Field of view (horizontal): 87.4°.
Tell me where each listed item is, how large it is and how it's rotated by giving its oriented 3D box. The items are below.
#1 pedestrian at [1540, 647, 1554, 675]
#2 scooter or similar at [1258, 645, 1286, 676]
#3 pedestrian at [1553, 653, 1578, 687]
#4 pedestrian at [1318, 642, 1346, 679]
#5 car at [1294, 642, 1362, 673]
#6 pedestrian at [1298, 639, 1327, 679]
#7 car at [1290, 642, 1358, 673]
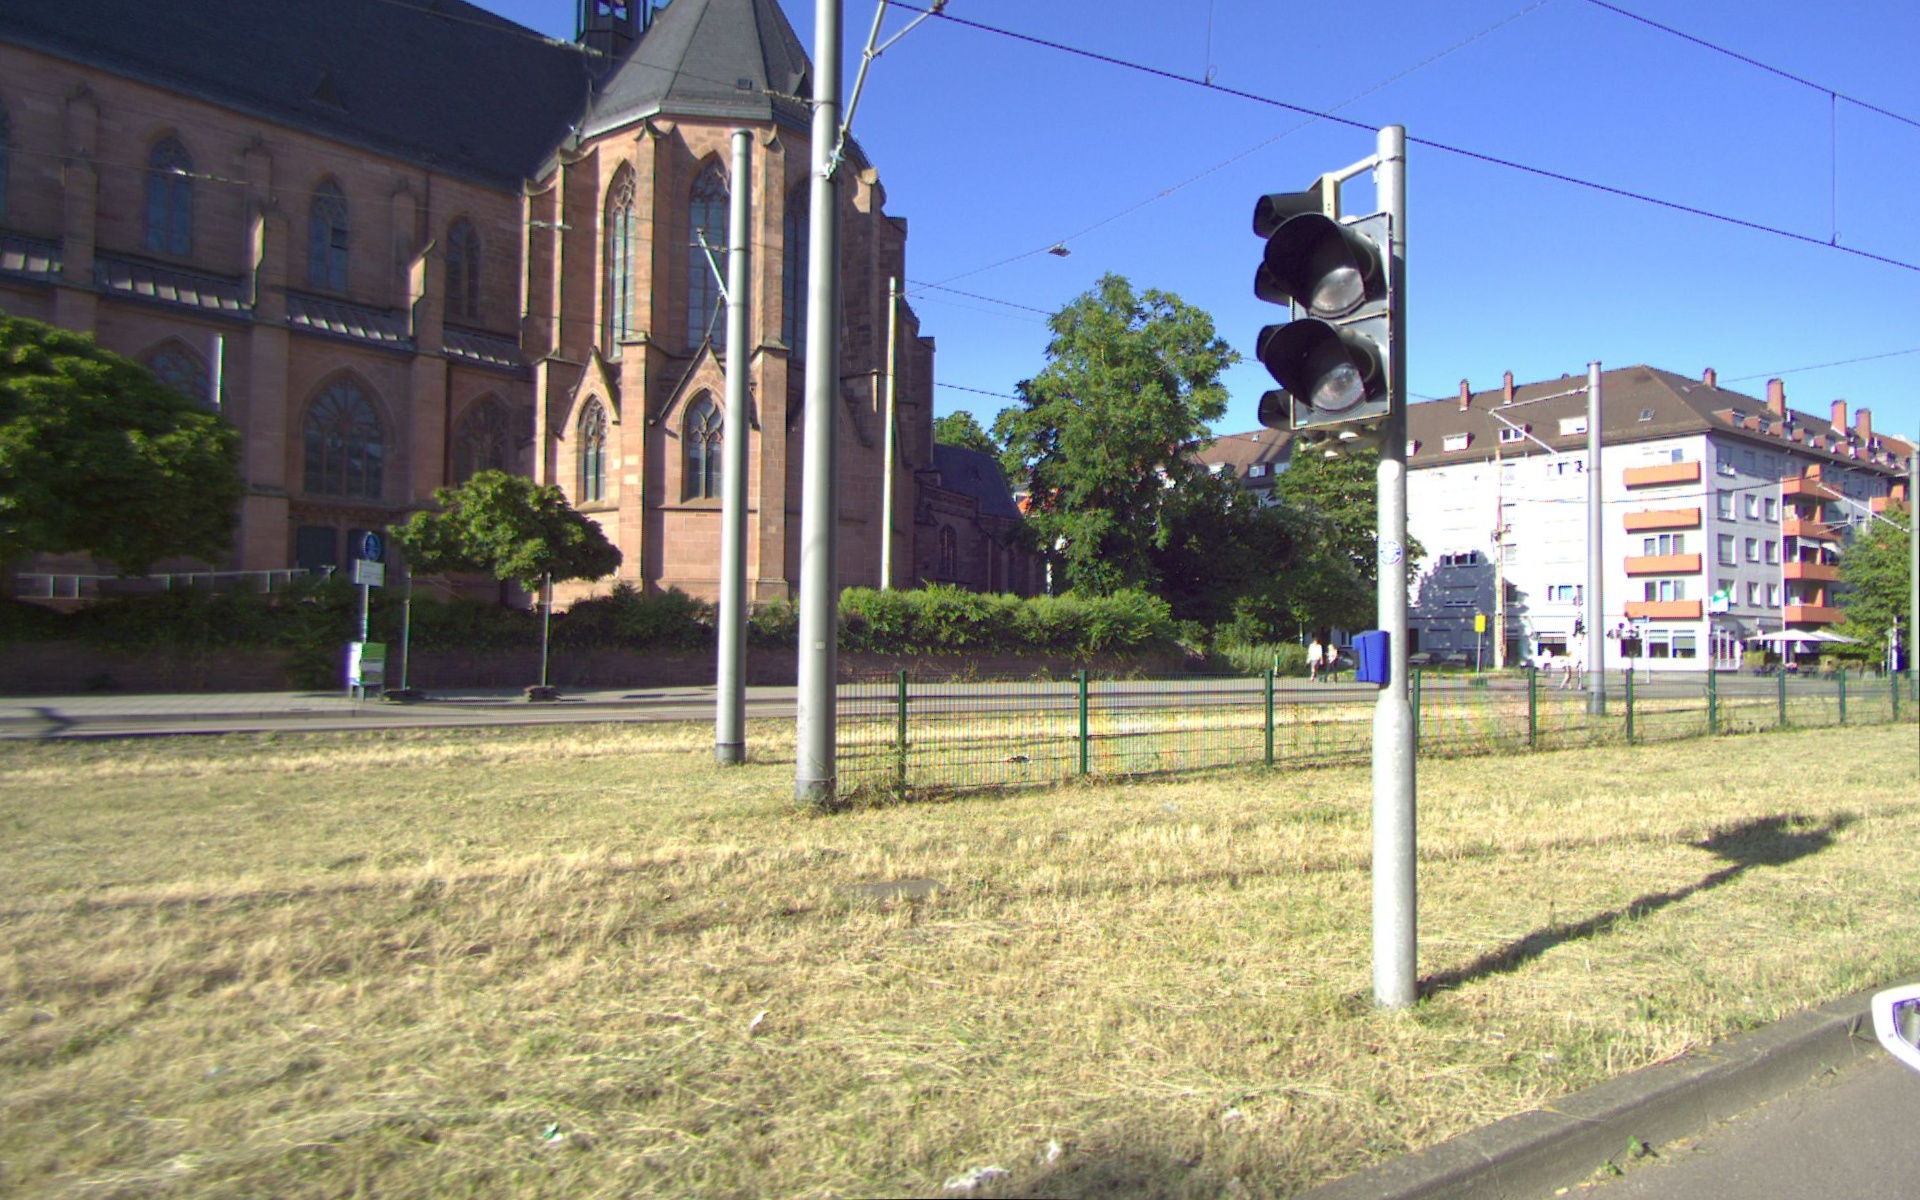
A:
[{"bbox_3d":[31.802,3.290,54.449,0.580,1.487,0.914,-3,-2,30],"label":"pedestrian"},{"bbox_3d":[13.390,2.589,43.055,1.216,1.278,0.399,-1,-2,-30],"label":"scooter or similar"},{"bbox_3d":[27.015,3.124,44.807,0.583,1.487,0.686,-1,-2,-27],"label":"pedestrian"},{"bbox_3d":[15.363,2.488,41.491,0.905,1.487,0.586,-1,-2,-30],"label":"pedestrian"},{"bbox_3d":[25.531,3.975,69.782,1.984,2.040,3.953,0,-2,-41],"label":"car"},{"bbox_3d":[14.752,2.447,42.030,0.887,1.619,0.641,-1,-2,-30],"label":"pedestrian"},{"bbox_3d":[25.251,3.984,69.700,1.984,2.040,3.953,0,-2,-41],"label":"car"}]
